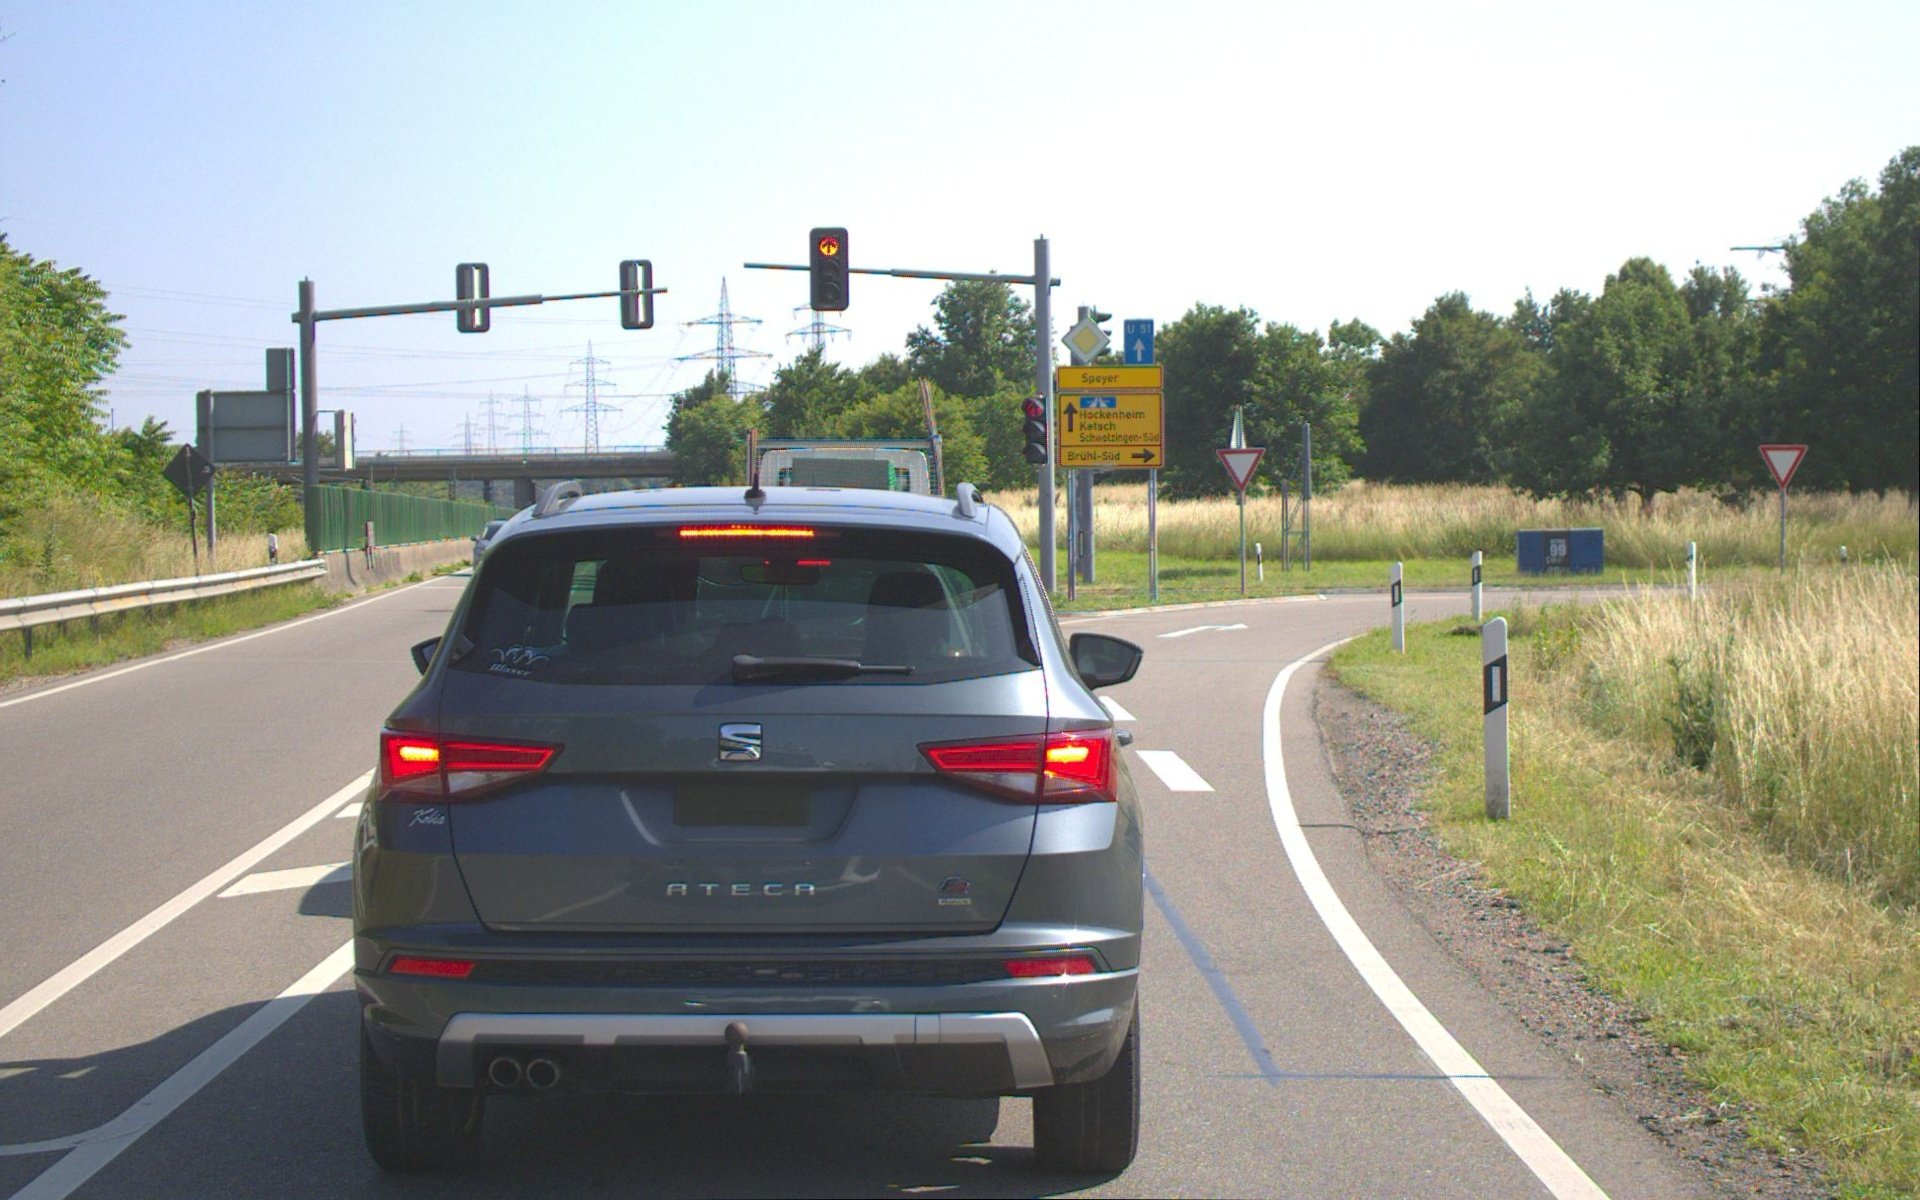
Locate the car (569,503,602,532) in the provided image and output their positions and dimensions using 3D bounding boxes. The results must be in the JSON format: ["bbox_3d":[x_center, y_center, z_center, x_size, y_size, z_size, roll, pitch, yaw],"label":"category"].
[{"bbox_3d":[-25.405,-5.597,233.007,1.963,1.945,4.999,-1,2,-8],"label":"car"}]

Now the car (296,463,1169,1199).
[{"bbox_3d":[-0.568,0.473,9.111,1.785,1.623,4.001,-1,2,-3],"label":"car"}]

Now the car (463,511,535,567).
[{"bbox_3d":[-12.251,-1.645,91.517,1.824,1.426,4.001,-1,2,-7],"label":"car"}]

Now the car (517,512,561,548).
[{"bbox_3d":[-17.624,-2.949,143.958,1.761,1.426,4.001,-1,2,-7],"label":"car"}]

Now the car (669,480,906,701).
[{"bbox_3d":[-1.421,-0.139,28.242,1.785,1.670,4.001,-1,2,-3],"label":"car"}]

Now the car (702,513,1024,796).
[{"bbox_3d":[-0.648,0.255,21.257,1.785,1.538,4.001,-1,2,-3],"label":"car"}]

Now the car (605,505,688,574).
[{"bbox_3d":[-7.308,-1.429,79.806,1.816,1.535,4.001,-1,2,-6],"label":"car"}]

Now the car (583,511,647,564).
[{"bbox_3d":[-9.289,-1.709,92.533,1.684,1.375,3.534,0,2,-6],"label":"car"}]

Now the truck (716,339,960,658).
[{"bbox_3d":[-1.262,-1.021,35.865,2.337,3.055,5.810,0,1,-2],"label":"truck"}]
